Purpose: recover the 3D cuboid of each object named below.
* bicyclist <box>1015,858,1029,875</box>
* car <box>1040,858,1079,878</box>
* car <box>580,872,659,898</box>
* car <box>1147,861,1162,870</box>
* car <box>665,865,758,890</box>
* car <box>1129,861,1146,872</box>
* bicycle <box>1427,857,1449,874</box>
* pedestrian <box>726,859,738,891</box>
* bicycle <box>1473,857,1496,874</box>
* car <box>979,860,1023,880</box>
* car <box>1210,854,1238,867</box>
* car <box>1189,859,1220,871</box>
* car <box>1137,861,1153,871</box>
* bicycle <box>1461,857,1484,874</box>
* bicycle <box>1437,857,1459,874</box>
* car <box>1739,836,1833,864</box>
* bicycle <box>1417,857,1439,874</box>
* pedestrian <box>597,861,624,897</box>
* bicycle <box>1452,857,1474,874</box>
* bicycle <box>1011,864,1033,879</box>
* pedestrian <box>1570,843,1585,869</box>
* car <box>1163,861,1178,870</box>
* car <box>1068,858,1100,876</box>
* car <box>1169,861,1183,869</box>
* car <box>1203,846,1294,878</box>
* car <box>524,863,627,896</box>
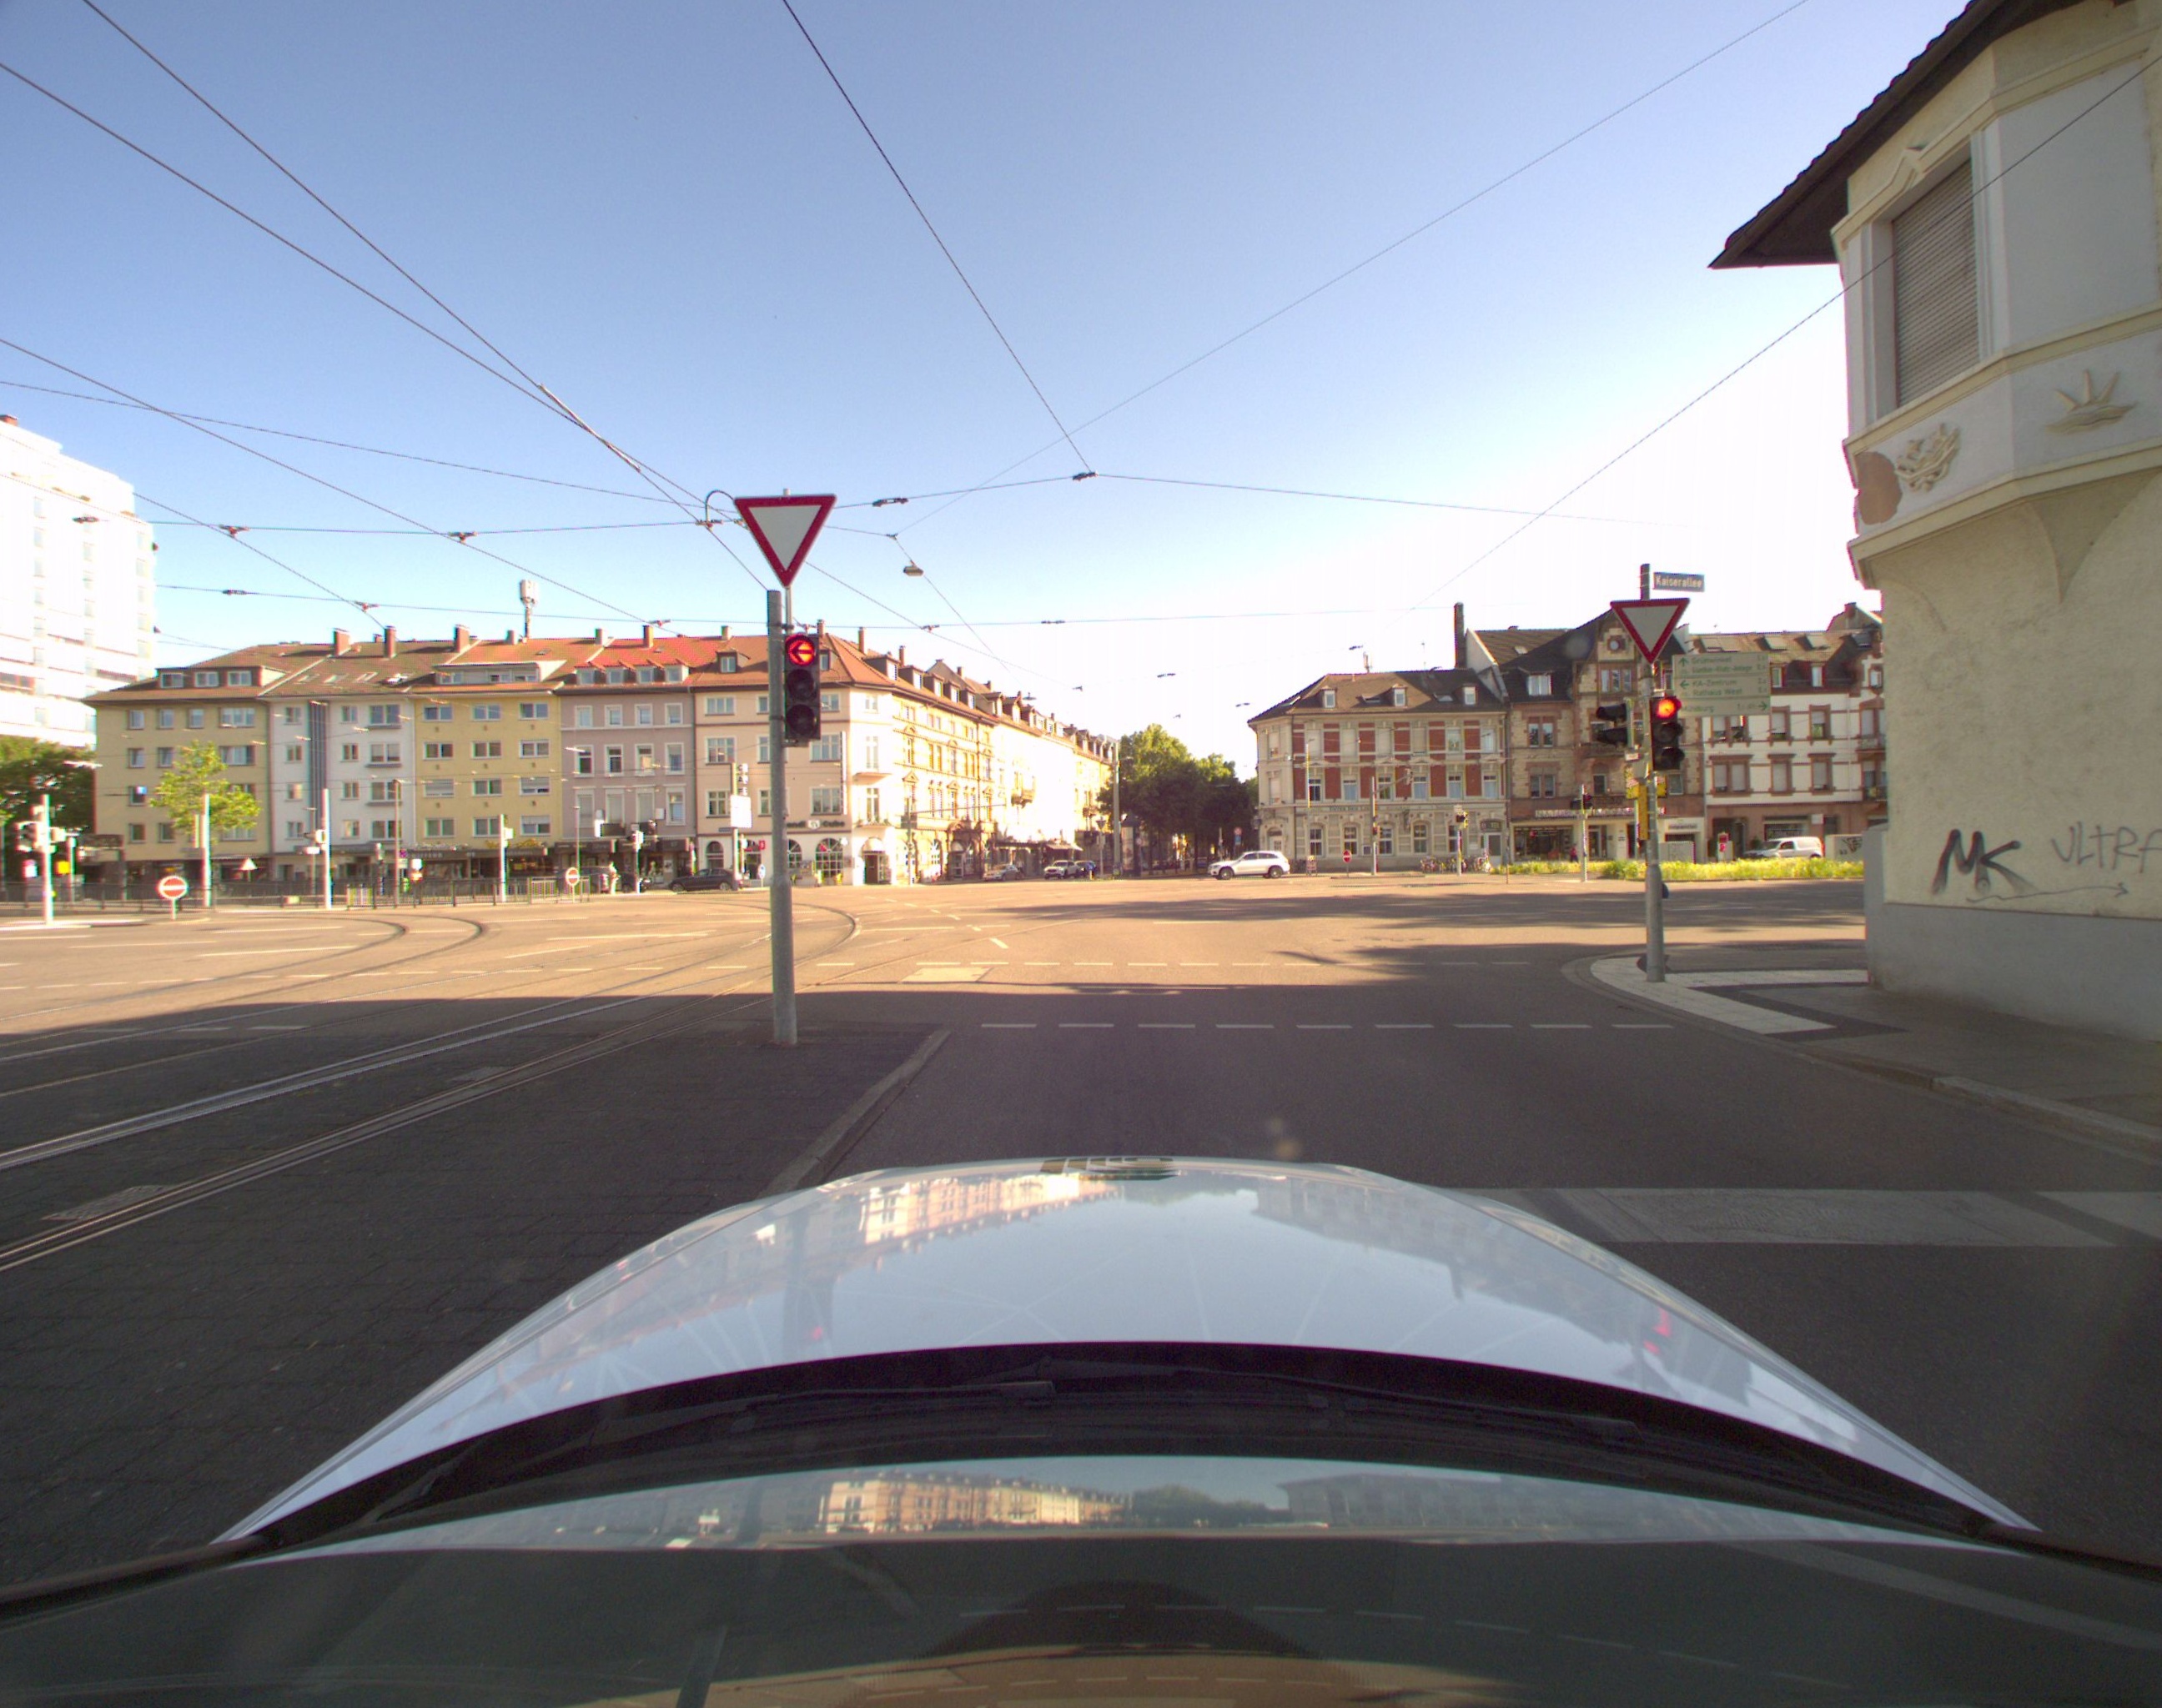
[{"bbox_3d":[-4.765,0.987,65.876,0.787,1.375,1.113,-1,0,16],"label":"bicyclist"},{"bbox_3d":[-1.729,1.163,67.375,2.080,1.499,4.017,-2,0,16],"label":"car"},{"bbox_3d":[-30.274,1.993,53.540,3.978,1.464,1.998,-2,0,-4],"label":"car"},{"bbox_3d":[11.069,1.730,122.714,1.729,1.397,4.137,1,0,12],"label":"car"},{"bbox_3d":[-21.583,1.358,47.666,4.496,1.341,2.000,-1,0,0],"label":"car"},{"bbox_3d":[7.607,1.652,110.007,1.729,1.397,4.137,1,0,12],"label":"car"},{"bbox_3d":[23.150,0.735,52.874,0.603,1.051,1.641,-1,0,-3],"label":"bicycle"},{"bbox_3d":[-22.777,1.358,53.129,0.506,2.013,0.505,-1,0,5],"label":"pedestrian"},{"bbox_3d":[26.053,0.712,52.615,0.603,1.051,1.641,-1,0,-3],"label":"bicycle"},{"bbox_3d":[-6.596,1.305,67.705,2.080,1.545,4.382,-2,0,16],"label":"car"},{"bbox_3d":[23.378,1.088,133.076,4.074,1.919,1.756,1,0,23],"label":"car"},{"bbox_3d":[17.491,1.527,114.997,4.078,1.646,1.754,1,0,17],"label":"car"},{"bbox_3d":[9.181,1.687,115.777,1.729,1.397,4.137,1,0,12],"label":"car"},{"bbox_3d":[25.315,0.717,52.623,0.603,1.051,1.641,-1,0,-3],"label":"bicycle"},{"bbox_3d":[23.813,0.730,52.874,0.603,1.051,1.641,-1,0,-3],"label":"bicycle"},{"bbox_3d":[45.385,-0.231,52.474,4.356,1.654,1.999,-1,0,-2],"label":"car"},{"bbox_3d":[22.496,0.740,52.843,0.603,1.051,1.641,-1,0,-3],"label":"bicycle"},{"bbox_3d":[-24.570,1.311,42.563,0.871,1.818,0.811,-1,0,2],"label":"pedestrian"},{"bbox_3d":[24.640,0.722,52.573,0.603,1.051,1.641,-1,0,-3],"label":"bicycle"},{"bbox_3d":[-4.768,1.431,65.905,0.745,1.135,2.821,-1,0,16],"label":"bicycle"},{"bbox_3d":[33.840,0.145,55.511,0.705,1.751,0.421,-1,0,3],"label":"pedestrian"},{"bbox_3d":[14.447,1.812,131.461,1.728,1.397,4.141,1,0,16],"label":"car"},{"bbox_3d":[0.293,1.152,73.698,1.979,1.513,4.015,-1,0,14],"label":"car"},{"bbox_3d":[15.871,1.836,136.208,1.728,1.397,4.141,1,0,16],"label":"car"},{"bbox_3d":[9.659,0.443,47.171,4.838,1.660,1.997,-1,0,-4],"label":"car"},{"bbox_3d":[-28.116,1.401,45.395,4.494,1.672,2.000,-1,0,1],"label":"car"}]
